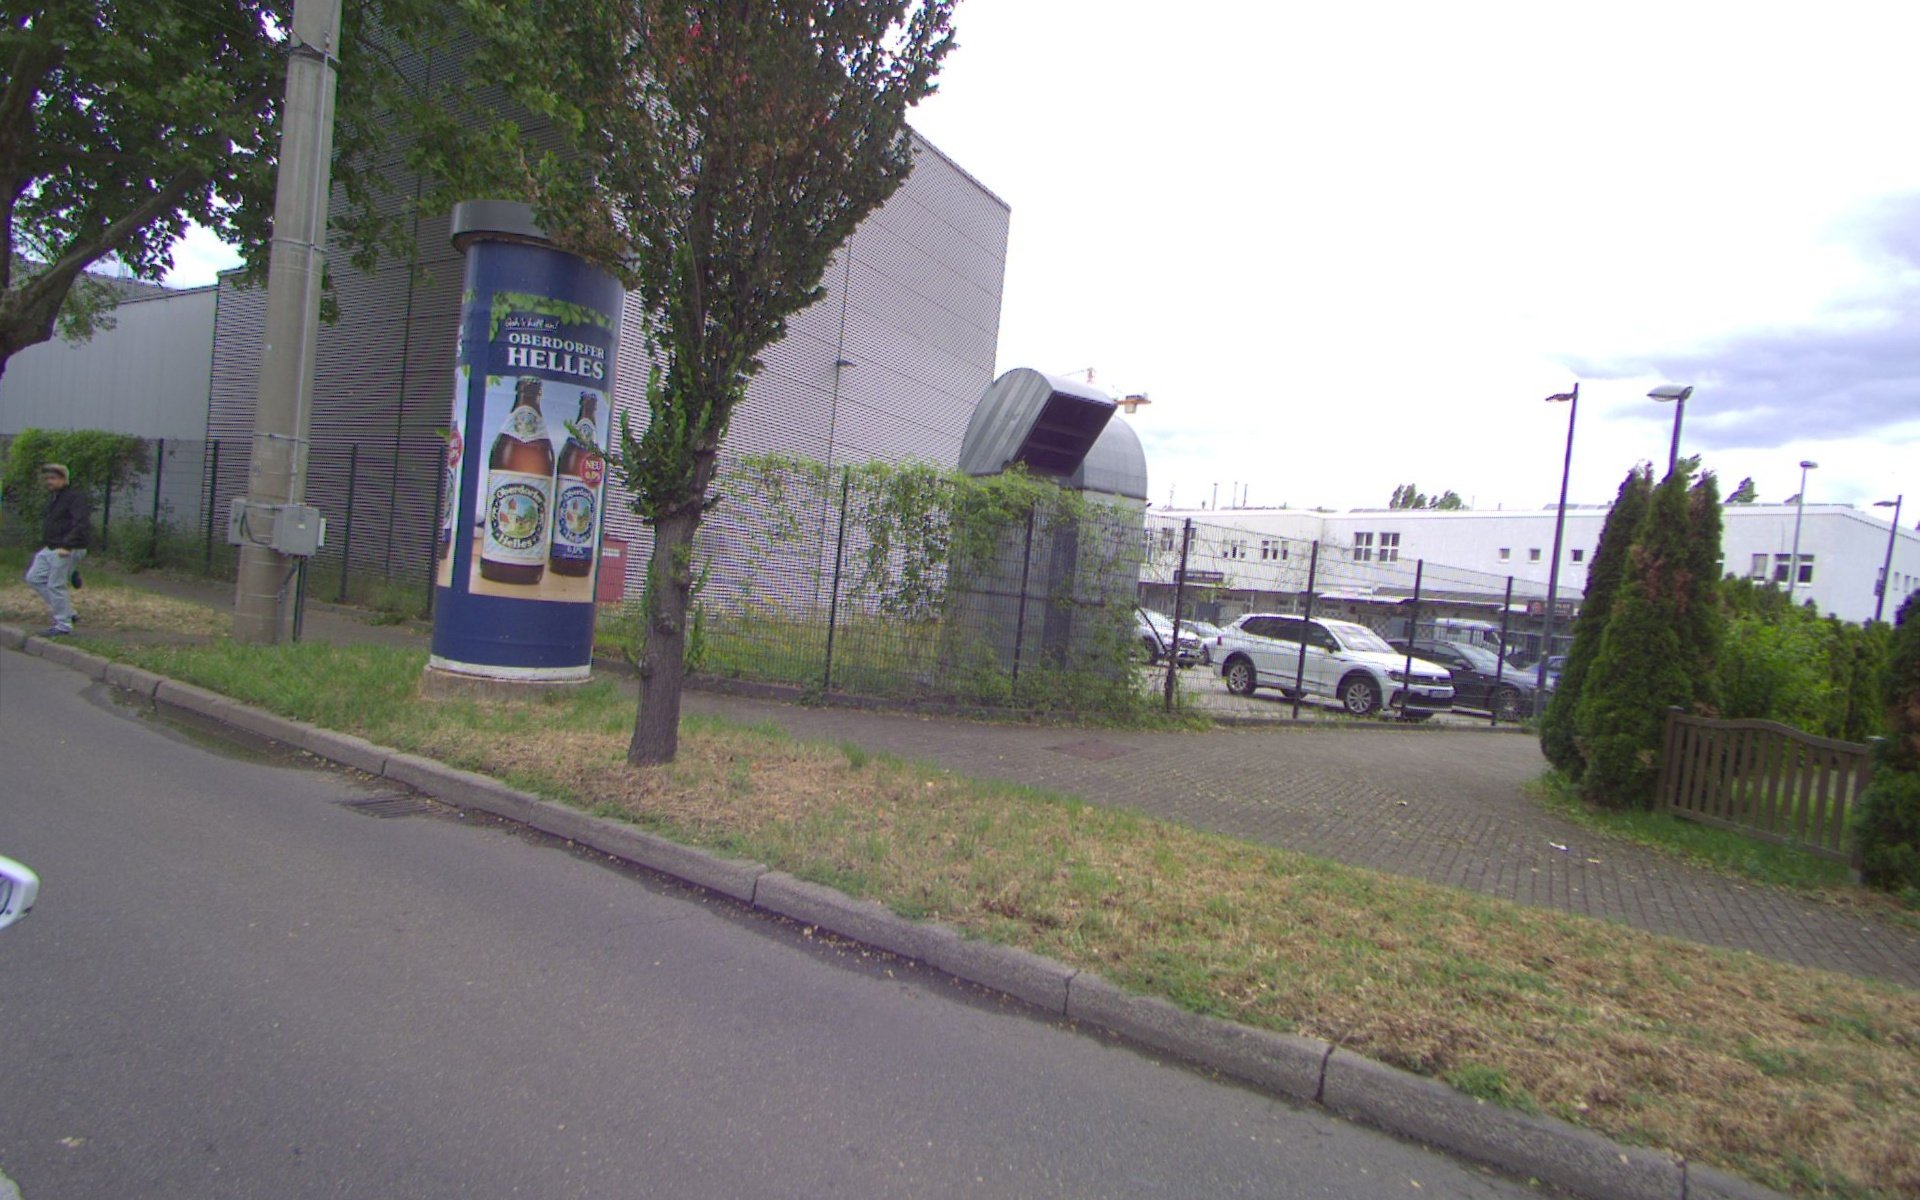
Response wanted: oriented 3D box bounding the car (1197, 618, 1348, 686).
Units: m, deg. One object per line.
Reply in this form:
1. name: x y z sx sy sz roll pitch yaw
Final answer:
1. car: 10.030 1.644 32.585 1.982 1.668 4.233 8 -2 -34

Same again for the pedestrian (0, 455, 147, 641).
1. pedestrian: -9.443 -0.525 10.661 1.110 1.782 0.806 5 0 -35

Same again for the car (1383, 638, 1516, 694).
1. car: 19.469 2.590 40.156 1.982 1.668 4.233 8 -2 -34

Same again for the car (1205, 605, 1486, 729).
1. car: 6.949 1.160 18.649 1.979 1.686 4.464 6 1 -31

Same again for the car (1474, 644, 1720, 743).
1. car: 15.083 2.164 24.091 1.979 1.686 4.464 6 1 -31

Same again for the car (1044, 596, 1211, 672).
1. car: 4.850 0.956 29.584 4.418 1.687 1.999 6 1 -1

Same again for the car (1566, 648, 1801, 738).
1. car: 18.752 2.373 26.314 1.979 1.686 4.464 6 1 -31

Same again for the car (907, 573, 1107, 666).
1. car: 1.122 0.465 24.226 4.197 1.668 1.999 6 -2 29

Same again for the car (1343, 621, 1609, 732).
1. car: 10.615 1.523 21.054 1.979 1.686 4.464 6 1 -31
